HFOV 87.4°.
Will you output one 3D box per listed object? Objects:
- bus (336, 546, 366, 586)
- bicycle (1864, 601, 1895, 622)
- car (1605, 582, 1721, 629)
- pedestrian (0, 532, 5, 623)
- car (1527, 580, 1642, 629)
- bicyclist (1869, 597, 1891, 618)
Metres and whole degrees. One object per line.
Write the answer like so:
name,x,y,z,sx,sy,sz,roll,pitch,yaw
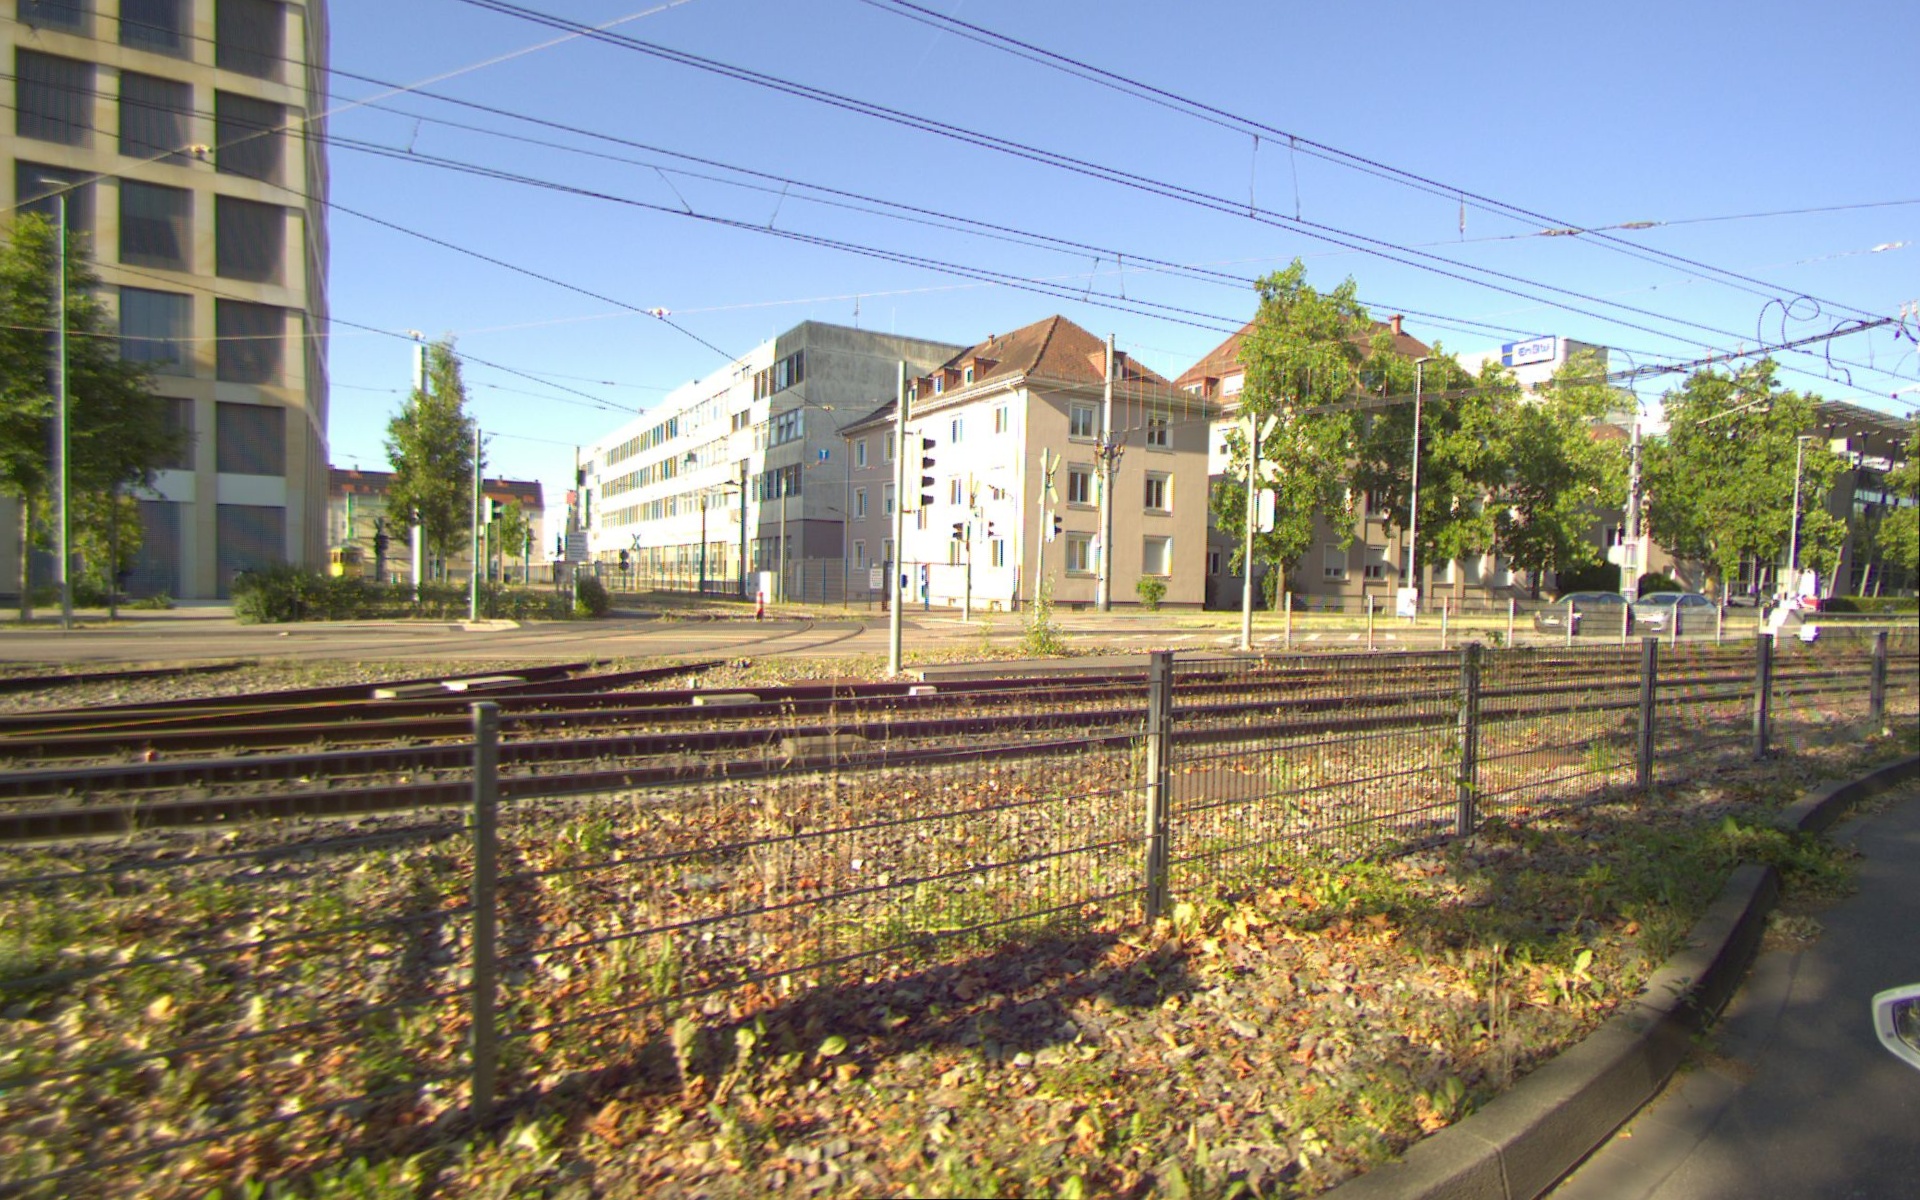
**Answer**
bus,-52.142,-2.955,85.907,1.891,3.183,7.629,0,3,-33
bicycle,69.420,0.859,75.806,3.142,1.506,0.925,0,2,-32
car,25.867,0.199,36.962,3.953,1.551,1.983,1,2,-30
pedestrian,-18.588,-0.432,18.968,0.664,1.740,0.660,0,2,-32
car,21.630,0.162,34.764,3.954,1.568,1.731,1,2,-31
bicyclist,69.339,0.563,75.700,1.258,1.506,0.925,0,2,-32
